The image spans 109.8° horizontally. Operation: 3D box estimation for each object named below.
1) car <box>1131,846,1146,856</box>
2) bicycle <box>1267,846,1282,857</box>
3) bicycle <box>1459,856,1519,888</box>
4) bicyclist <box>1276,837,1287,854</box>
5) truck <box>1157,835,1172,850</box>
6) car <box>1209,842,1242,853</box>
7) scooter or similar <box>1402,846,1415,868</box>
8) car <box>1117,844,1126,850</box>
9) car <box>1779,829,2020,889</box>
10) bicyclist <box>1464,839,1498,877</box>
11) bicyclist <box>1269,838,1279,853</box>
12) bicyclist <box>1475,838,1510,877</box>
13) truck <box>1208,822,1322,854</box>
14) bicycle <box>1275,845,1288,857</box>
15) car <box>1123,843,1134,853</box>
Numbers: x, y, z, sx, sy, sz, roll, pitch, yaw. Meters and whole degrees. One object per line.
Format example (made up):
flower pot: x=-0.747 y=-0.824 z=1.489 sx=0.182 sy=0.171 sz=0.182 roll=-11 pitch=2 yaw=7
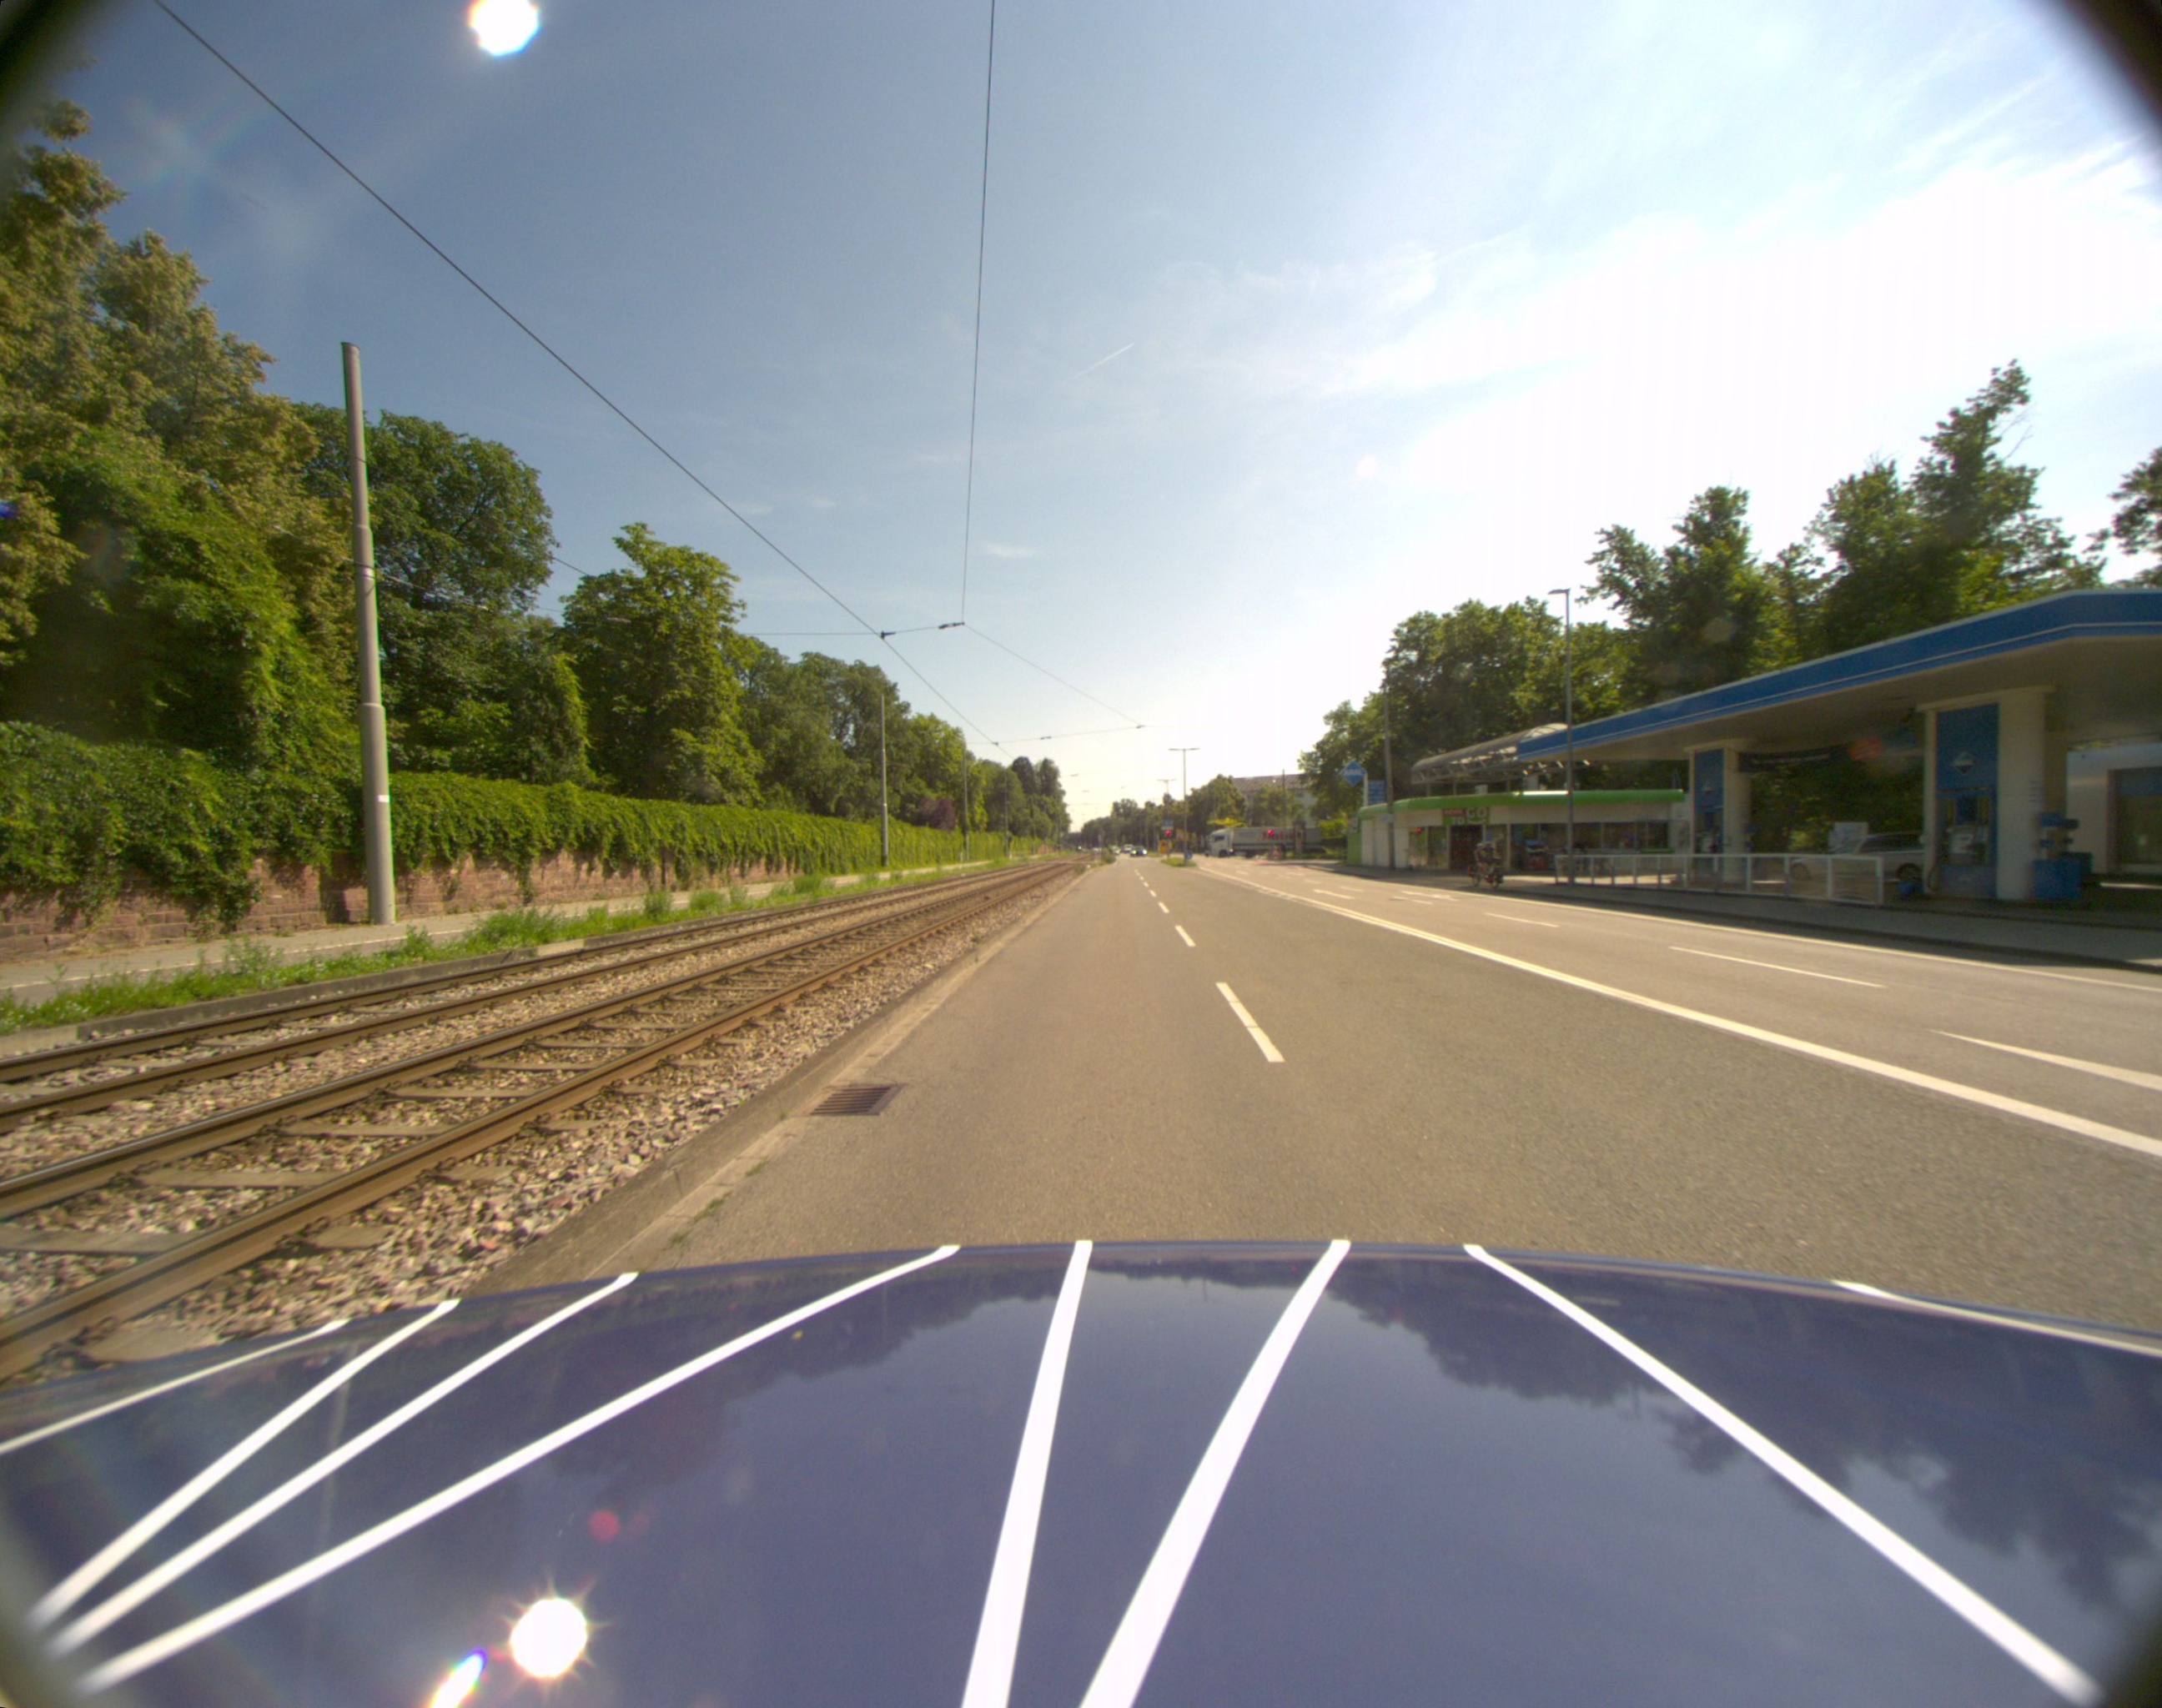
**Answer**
car: x=8.534 y=-0.457 z=113.216 sx=1.755 sy=1.573 sz=4.504 roll=-1 pitch=1 yaw=-2
bicycle: x=19.181 y=-0.222 z=75.481 sx=0.753 sy=1.052 sz=2.074 roll=-1 pitch=1 yaw=-6
bicycle: x=15.302 y=0.648 z=28.611 sx=0.827 sy=1.088 sz=2.773 roll=-4 pitch=0 yaw=3
bicyclist: x=20.323 y=-0.851 z=77.036 sx=0.837 sy=1.664 sz=0.827 roll=-1 pitch=0 yaw=3
truck: x=15.149 y=-2.121 z=138.358 sx=2.335 sy=2.653 sz=7.360 roll=0 pitch=1 yaw=4
car: x=20.311 y=-0.929 z=106.845 sx=1.760 sy=1.501 sz=4.386 roll=-1 pitch=-1 yaw=-39
scooter or similar: x=18.684 y=0.152 z=43.305 sx=0.442 sy=1.230 sz=1.346 roll=0 pitch=1 yaw=13
car: x=10.335 y=-1.739 z=193.940 sx=1.930 sy=1.593 sz=4.467 roll=-2 pitch=1 yaw=0
car: x=27.108 y=0.103 z=25.612 sx=1.848 sy=1.771 sz=5.964 roll=0 pitch=1 yaw=2
bicyclist: x=15.387 y=0.159 z=29.257 sx=0.849 sy=1.427 sz=0.833 roll=-2 pitch=0 yaw=3
bicyclist: x=19.148 y=-0.853 z=75.287 sx=0.710 sy=1.412 sz=0.739 roll=-1 pitch=0 yaw=-5
bicyclist: x=15.359 y=0.149 z=28.390 sx=0.849 sy=1.427 sz=0.833 roll=-1 pitch=-1 yaw=3
truck: x=23.895 y=-2.108 z=99.241 sx=14.287 sy=3.984 sz=2.855 roll=0 pitch=1 yaw=5
bicycle: x=20.350 y=-0.326 z=77.198 sx=0.939 sy=1.168 sz=2.211 roll=-1 pitch=1 yaw=5
car: x=10.712 y=-1.368 z=171.878 sx=2.264 sy=2.336 sz=5.229 roll=-2 pitch=1 yaw=1
